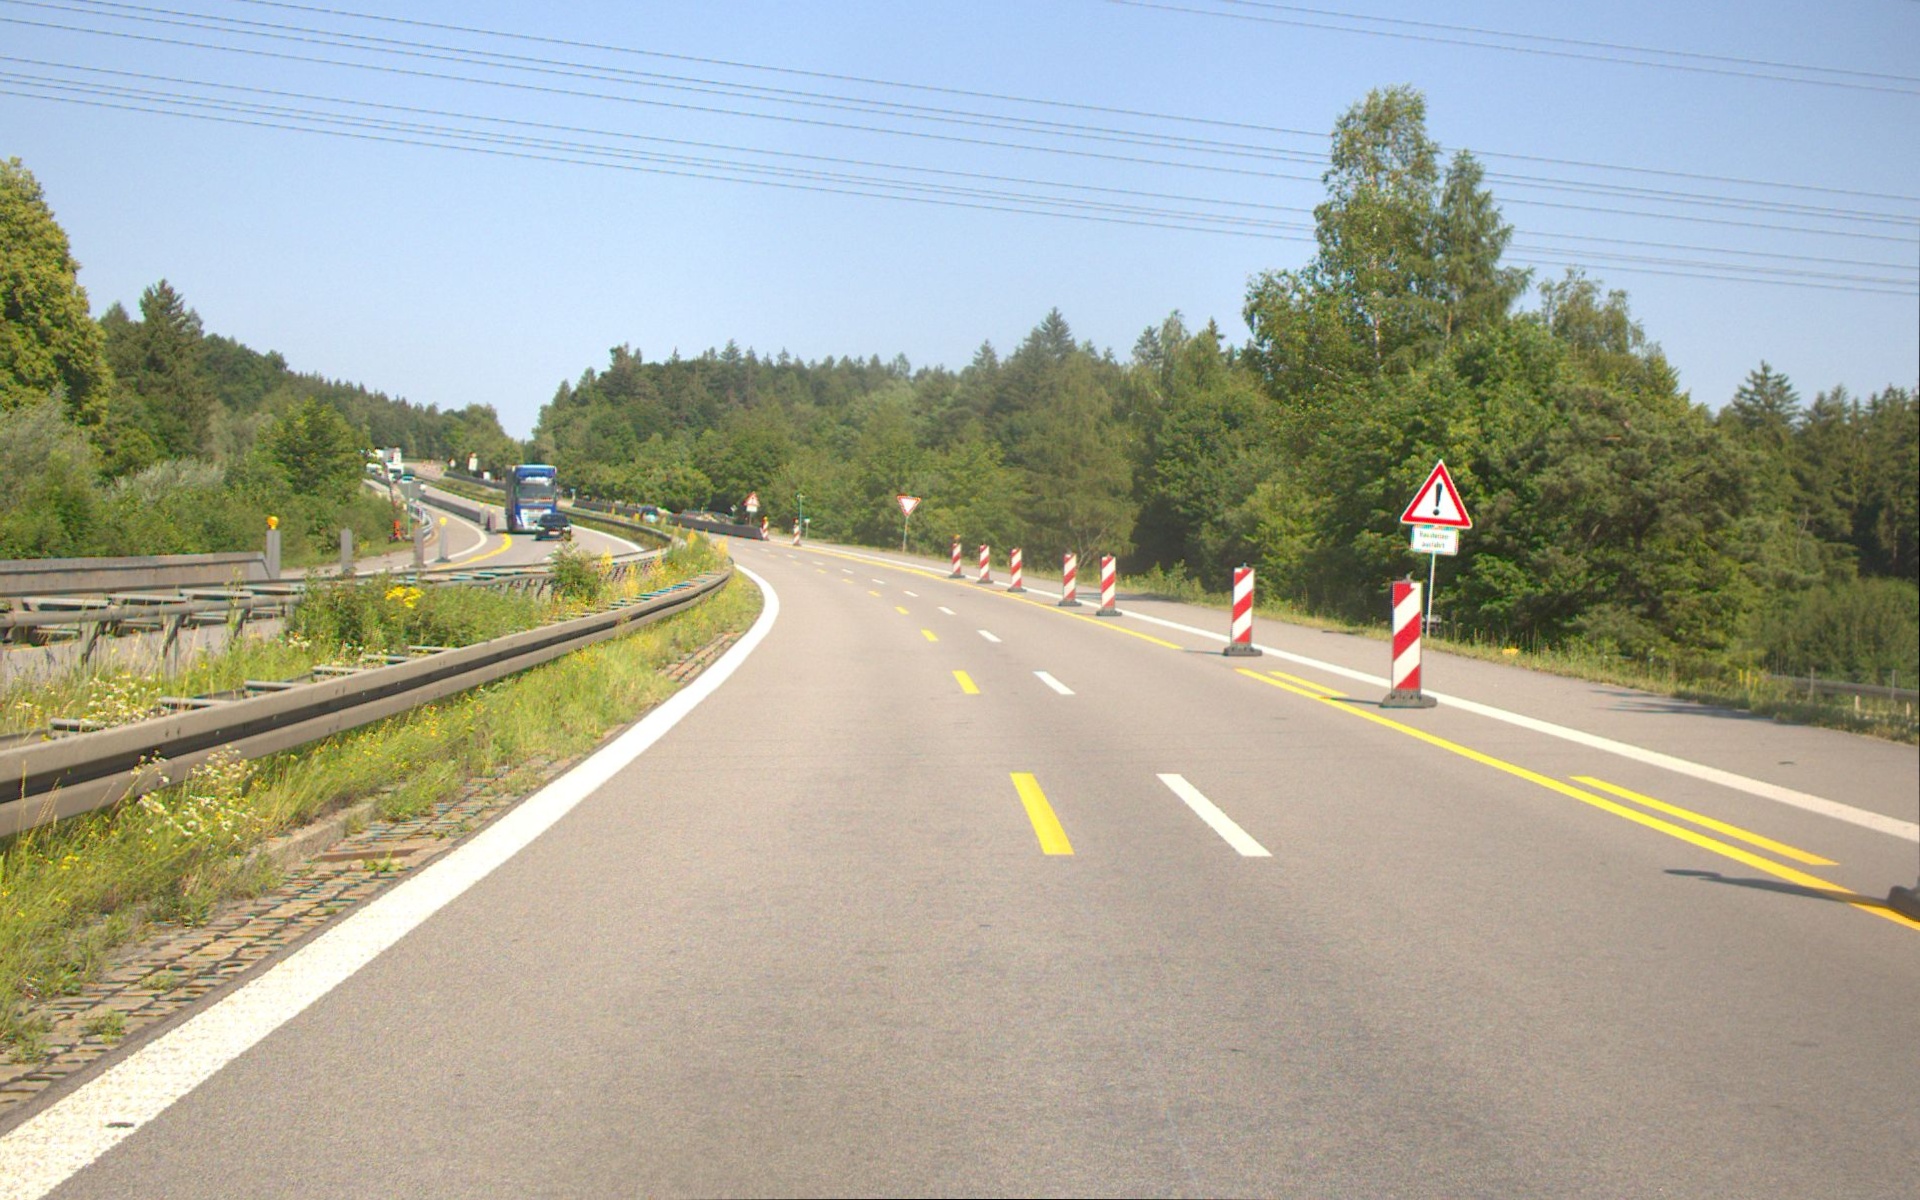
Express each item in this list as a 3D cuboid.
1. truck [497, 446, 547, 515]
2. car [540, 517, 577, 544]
[{"bbox_3d":[-25.854,-7.057,203.158,2.632,3.946,5.844,1,1,-5],"label":"truck"},{"bbox_3d":[-20.985,-3.642,179.776,1.777,1.424,4.270,0,1,-4],"label":"car"}]
